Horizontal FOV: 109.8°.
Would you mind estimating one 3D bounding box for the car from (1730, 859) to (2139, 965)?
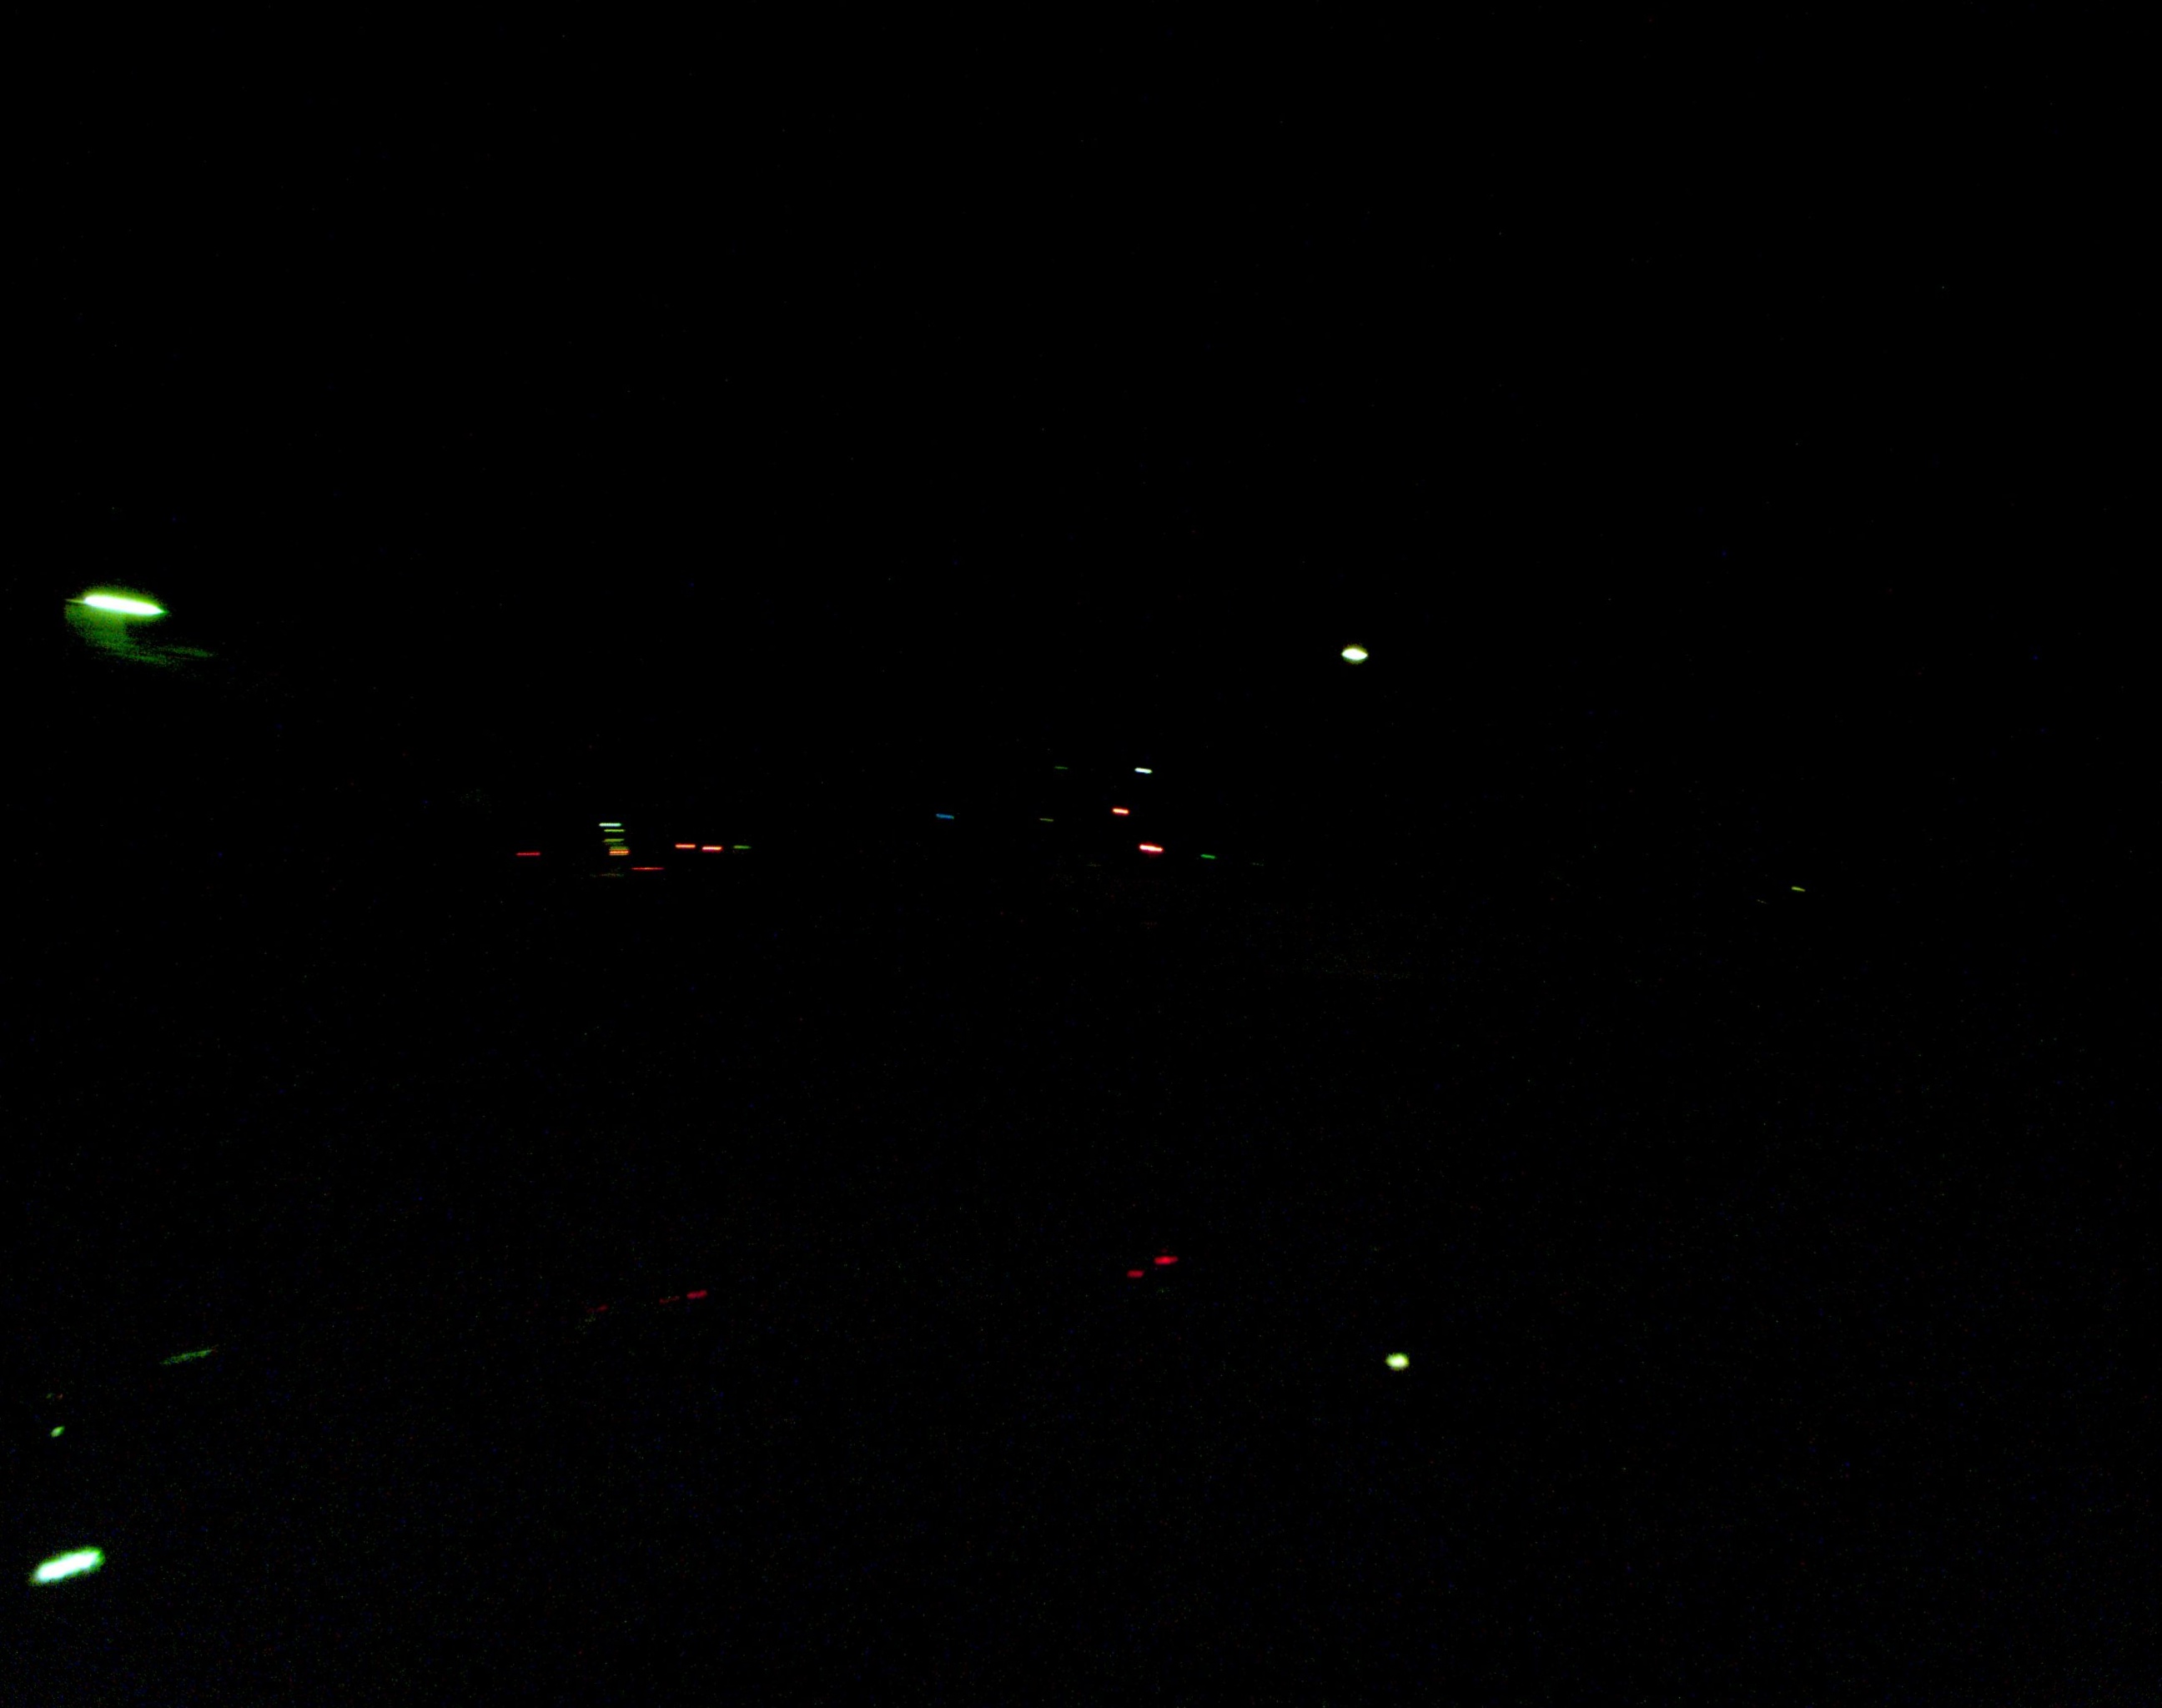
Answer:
[{"bbox_3d":[14.344,0.854,13.244,1.867,1.425,4.399,-2,0,-10],"label":"car"}]

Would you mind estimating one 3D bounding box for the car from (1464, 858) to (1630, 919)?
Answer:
[{"bbox_3d":[12.900,0.894,21.410,1.556,1.425,4.345,-3,0,-7],"label":"car"}]

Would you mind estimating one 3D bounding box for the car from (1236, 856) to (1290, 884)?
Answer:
[{"bbox_3d":[10.168,0.856,42.678,1.634,1.455,3.511,-1,0,-12],"label":"car"}]

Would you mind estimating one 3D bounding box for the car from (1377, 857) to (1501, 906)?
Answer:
[{"bbox_3d":[12.249,0.885,26.312,1.643,1.425,4.346,-4,0,-9],"label":"car"}]
